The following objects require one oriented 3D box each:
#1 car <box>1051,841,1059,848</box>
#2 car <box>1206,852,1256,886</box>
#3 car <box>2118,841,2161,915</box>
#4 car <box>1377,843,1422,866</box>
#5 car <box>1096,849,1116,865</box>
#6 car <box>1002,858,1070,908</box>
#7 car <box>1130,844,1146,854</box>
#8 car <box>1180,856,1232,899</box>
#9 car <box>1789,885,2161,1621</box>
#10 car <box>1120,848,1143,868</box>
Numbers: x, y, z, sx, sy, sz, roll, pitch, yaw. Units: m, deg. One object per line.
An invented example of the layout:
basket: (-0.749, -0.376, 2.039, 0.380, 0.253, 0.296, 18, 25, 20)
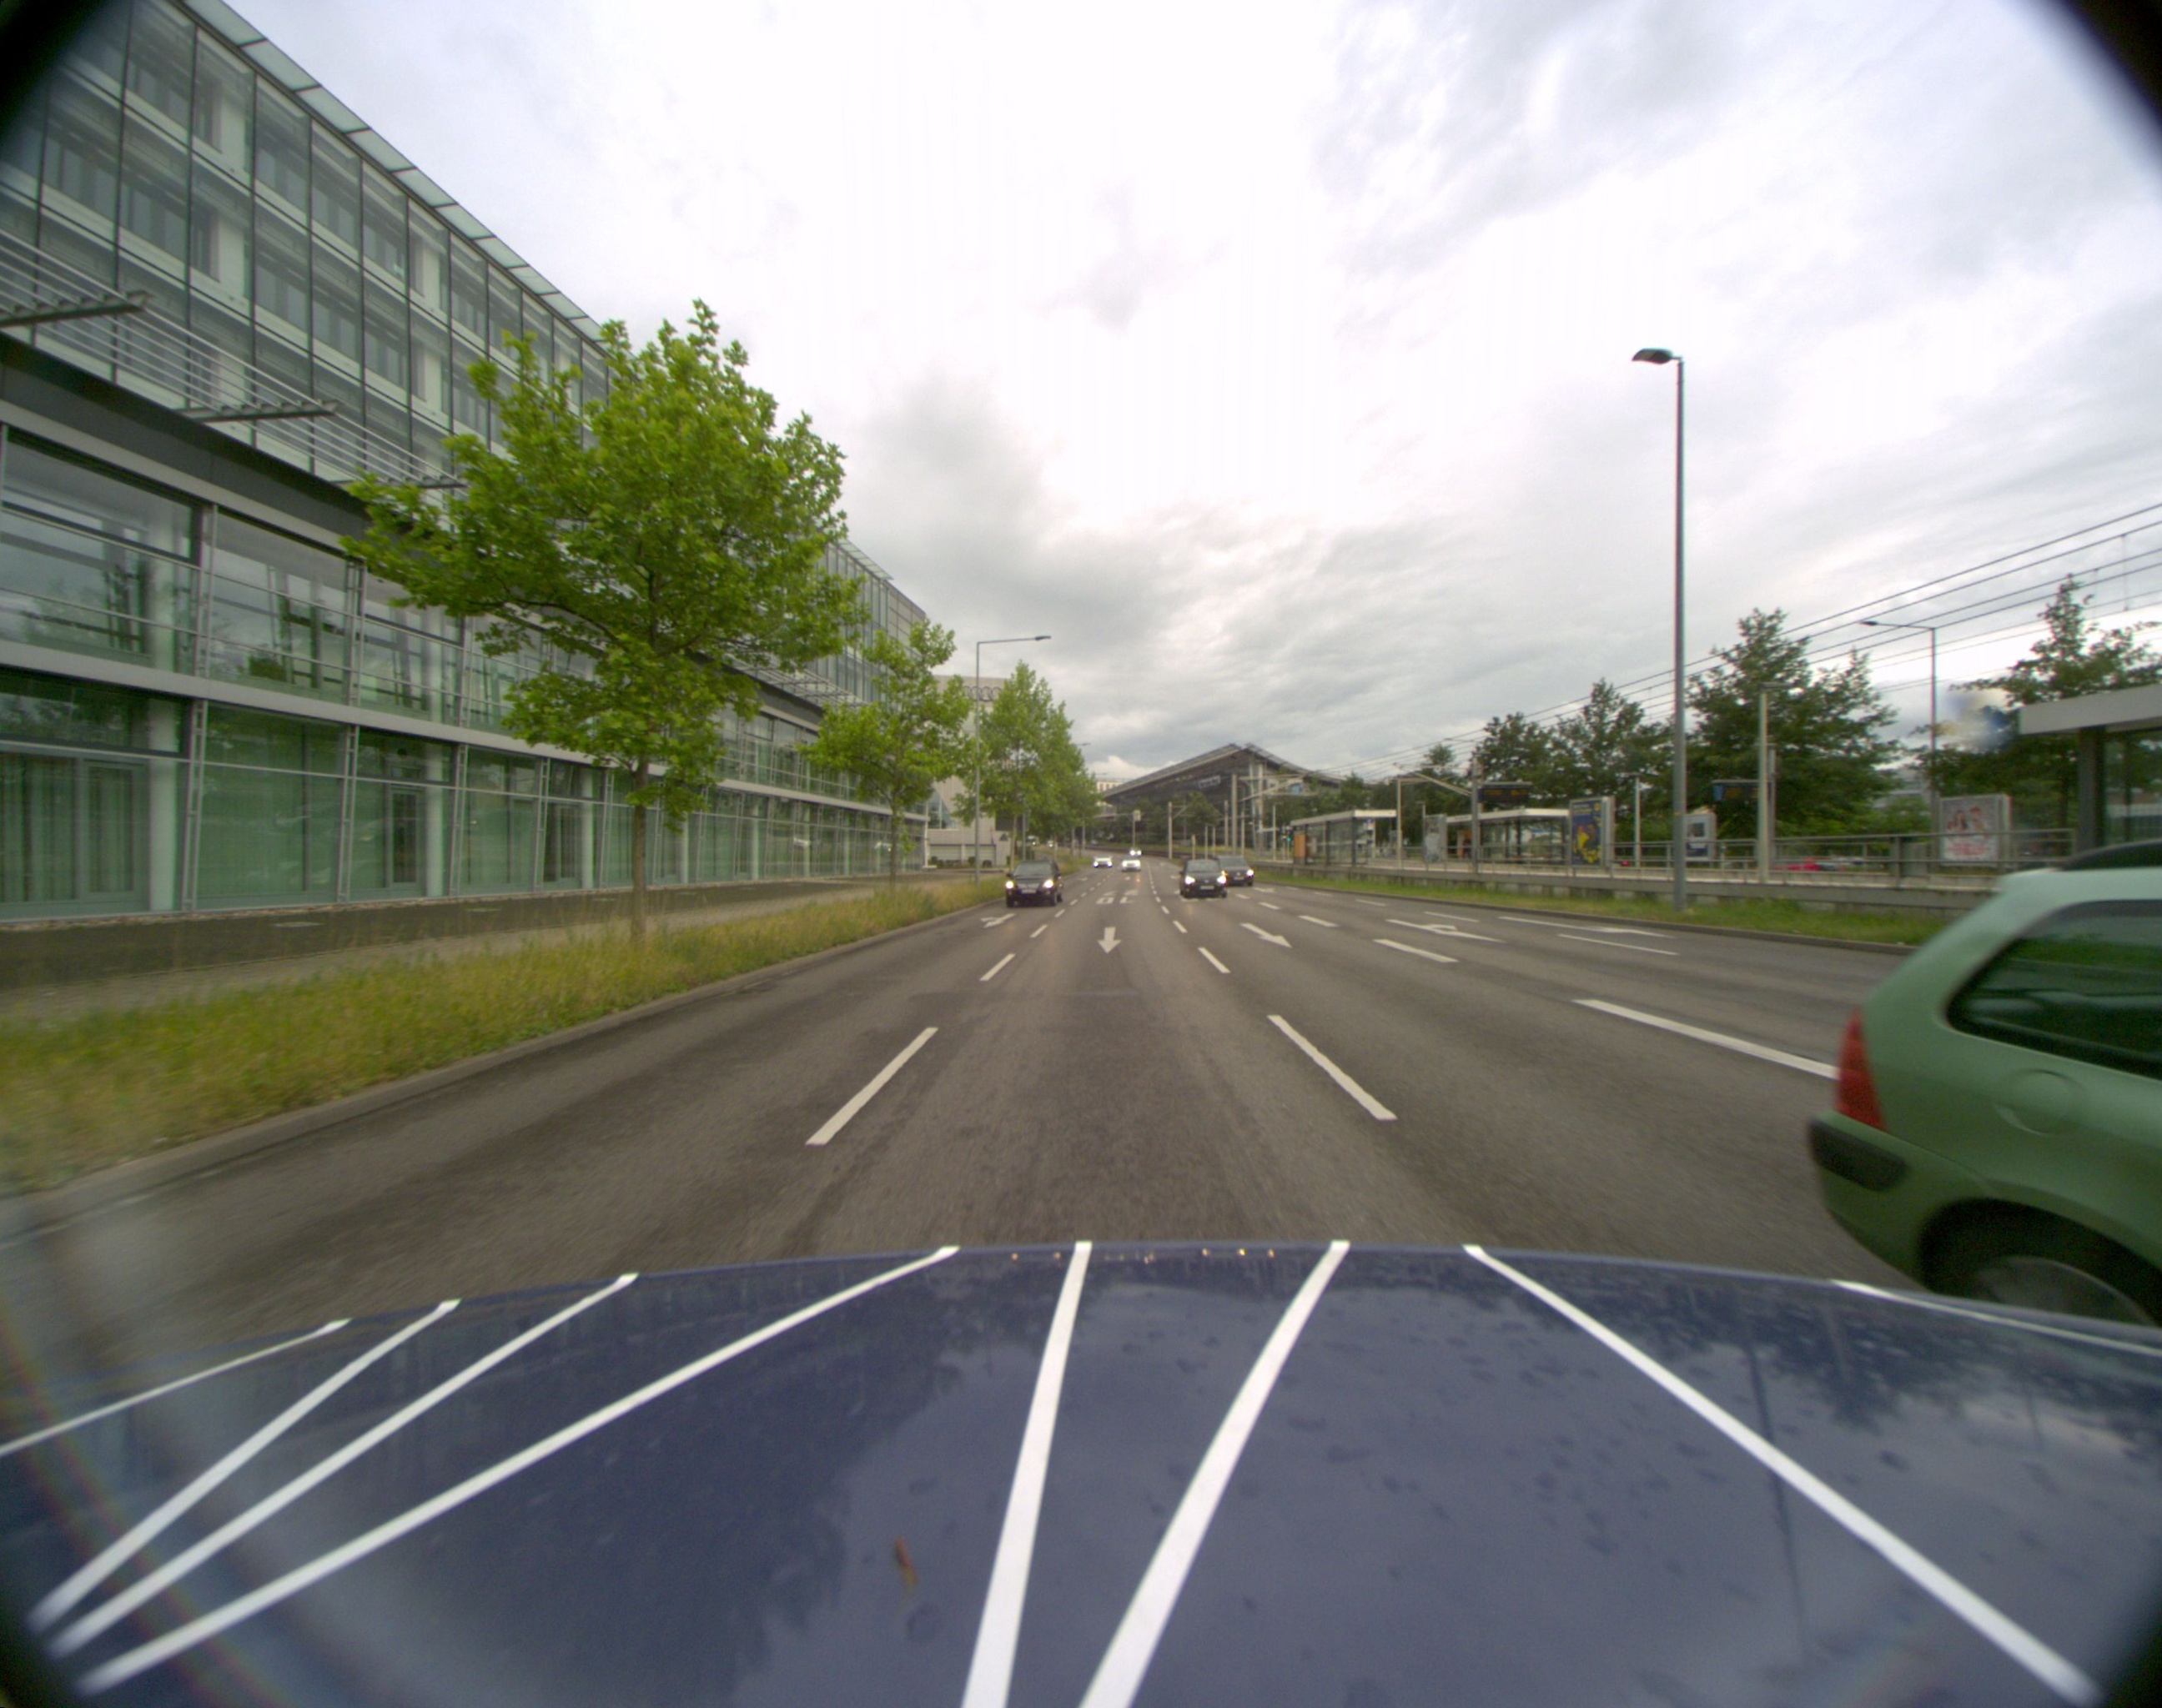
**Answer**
car: (-6.124, -2.202, 180.048, 1.829, 1.701, 4.152, -2, 1, -3)
car: (7.874, 0.752, 40.114, 1.731, 1.583, 4.192, -2, 1, 0)
car: (30.979, 0.661, 19.951, 1.999, 2.002, 3.999, -2, 1, -1)
car: (26.851, 0.001, 64.151, 1.999, 1.837, 3.998, -2, 1, -2)
car: (2.678, 0.334, 82.945, 1.999, 1.669, 3.821, -2, 1, -1)
car: (-1.611, 1.011, 28.501, 1.769, 1.620, 4.326, -2, 0, 6)
car: (8.817, -0.795, 117.653, 1.741, 1.469, 3.998, -2, 0, -6)
car: (5.029, 0.890, 30.963, 1.696, 1.514, 3.905, -2, 1, 4)
car: (3.070, 0.866, 0.191, 1.699, 1.460, 4.403, -2, 1, 1)
car: (4.622, 0.360, 70.299, 1.805, 1.713, 3.999, -2, 1, -1)
